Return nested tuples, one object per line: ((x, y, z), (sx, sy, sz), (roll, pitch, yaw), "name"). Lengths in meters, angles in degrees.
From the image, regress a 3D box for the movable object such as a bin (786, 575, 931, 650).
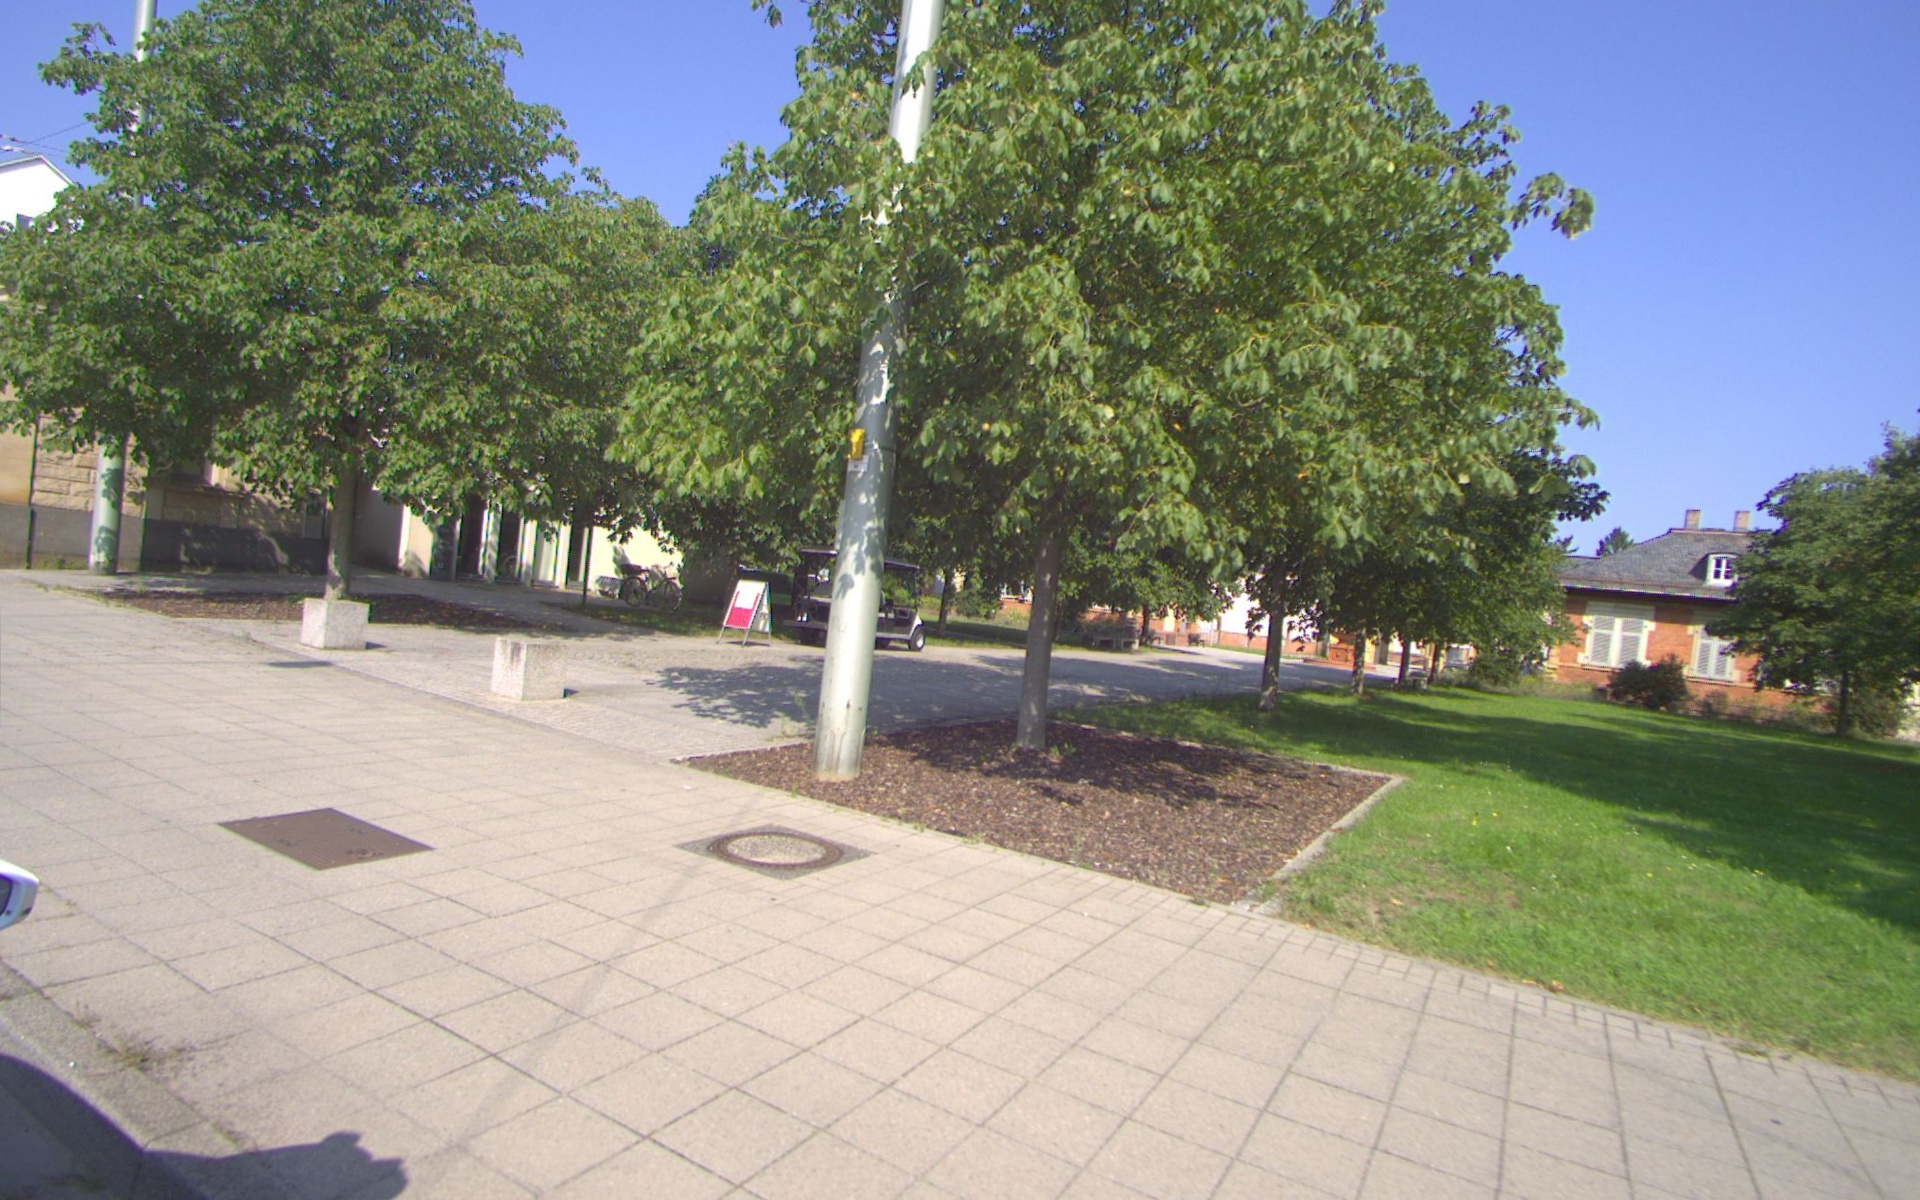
((-2.041, 0.288, 20.929), (1.279, 1.315, 3.108), (7, 1, 31), "movable object such as a bin")

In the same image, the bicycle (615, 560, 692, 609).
((-7.421, -0.360, 24.413), (0.420, 0.992, 1.906), (7, 0, 31), "bicycle")
